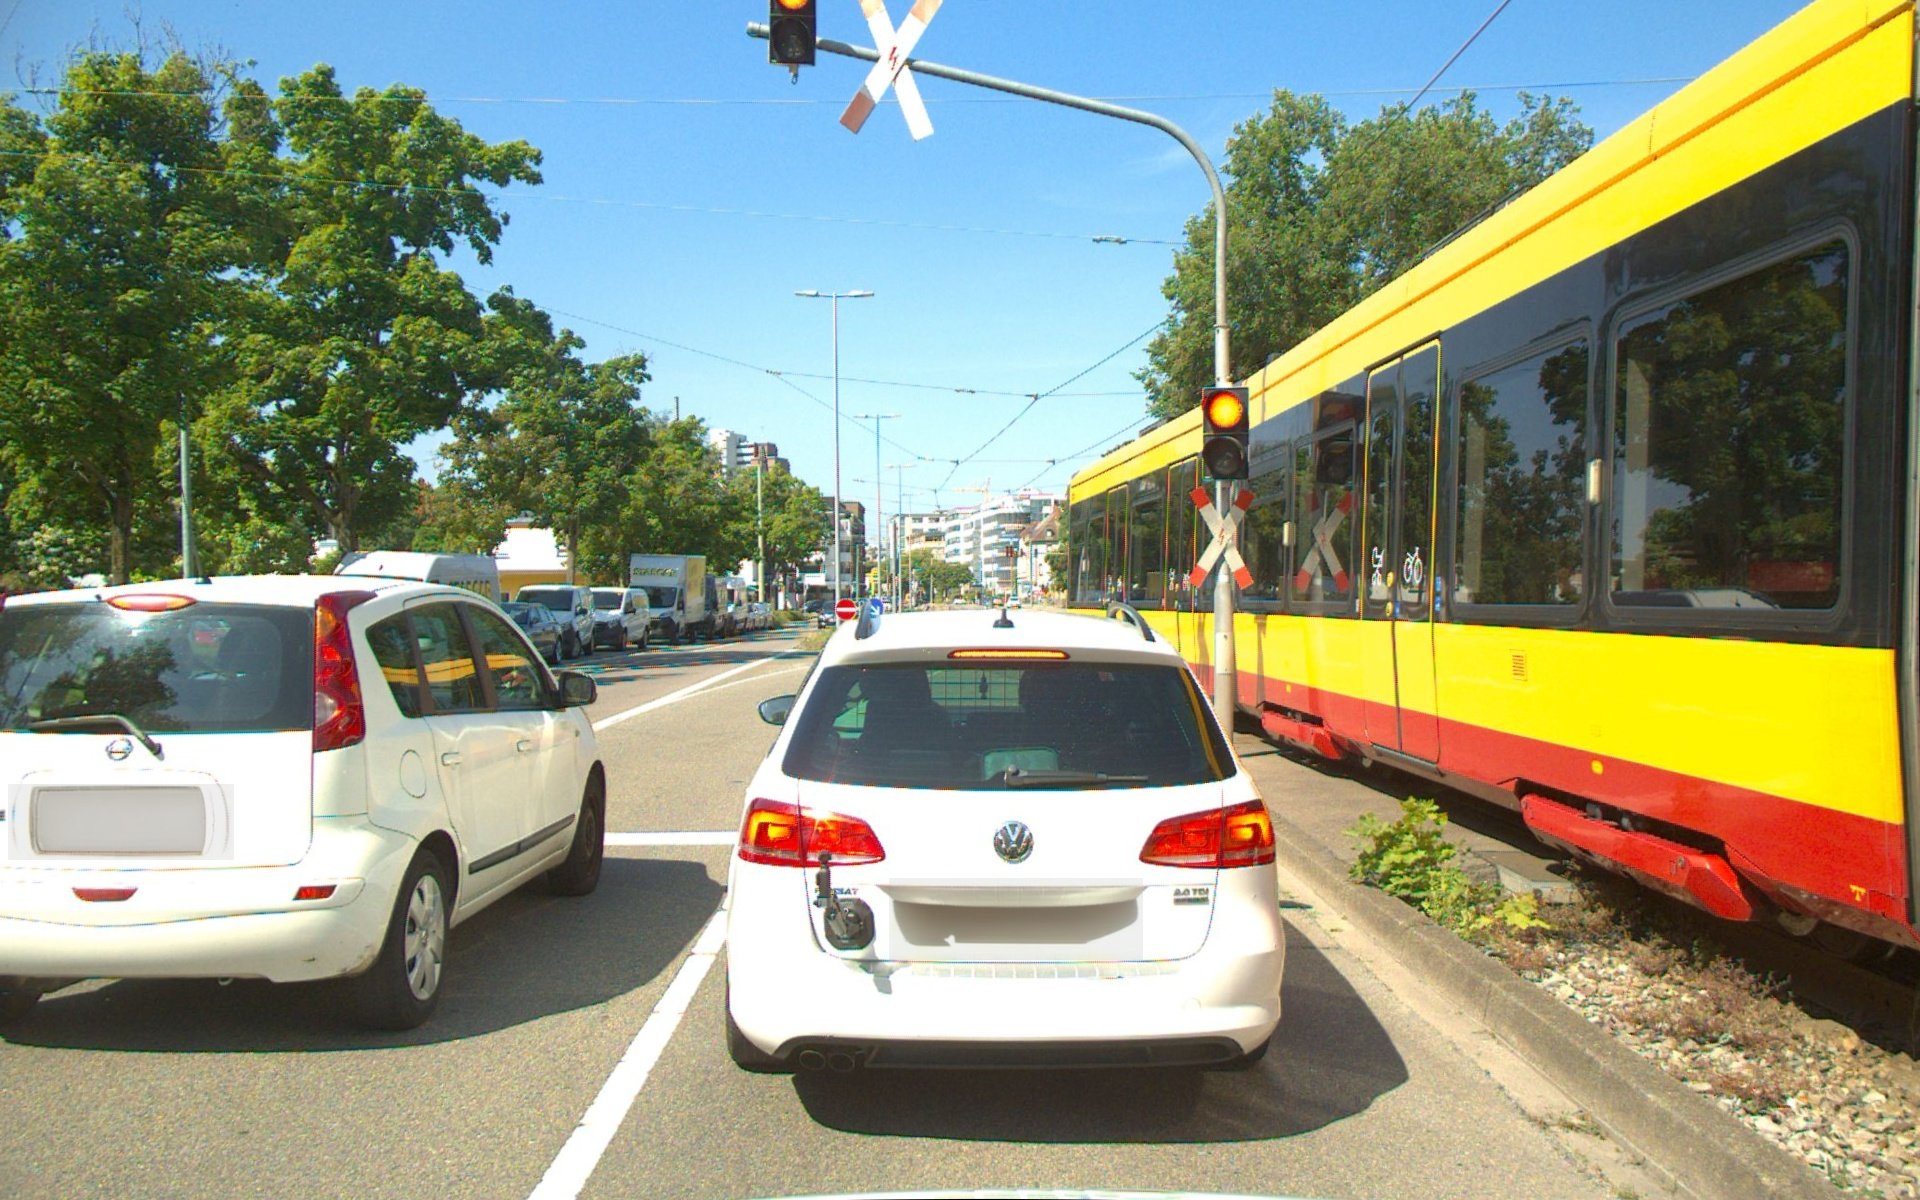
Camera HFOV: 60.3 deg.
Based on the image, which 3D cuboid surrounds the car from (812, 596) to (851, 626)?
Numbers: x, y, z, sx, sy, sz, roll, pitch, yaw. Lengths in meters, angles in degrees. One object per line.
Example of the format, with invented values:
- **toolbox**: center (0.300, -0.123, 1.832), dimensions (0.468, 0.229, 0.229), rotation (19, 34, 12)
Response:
- **car**: center (-6.874, 0.564, 88.767), dimensions (1.670, 1.499, 4.589), rotation (-1, 0, 0)

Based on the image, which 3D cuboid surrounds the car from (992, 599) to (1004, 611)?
- **car**: center (6.030, 0.779, 261.824), dimensions (1.640, 1.896, 3.730), rotation (1, 0, -1)

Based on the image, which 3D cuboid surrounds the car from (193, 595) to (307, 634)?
- **car**: center (-34.854, 0.695, 81.311), dimensions (4.698, 1.819, 2.062), rotation (1, 0, -5)

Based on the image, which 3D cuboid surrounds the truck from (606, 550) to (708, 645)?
- **truck**: center (-10.904, -0.107, 60.148), dimensions (2.371, 3.205, 6.996), rotation (1, 0, 0)

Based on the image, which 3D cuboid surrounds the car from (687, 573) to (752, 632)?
- **car**: center (-10.947, 0.105, 75.583), dimensions (2.079, 2.560, 5.733), rotation (1, 0, 0)

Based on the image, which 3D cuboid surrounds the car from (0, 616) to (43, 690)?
- **car**: center (-20.710, 1.128, 32.891), dimensions (3.909, 1.440, 1.728), rotation (-2, 0, -5)

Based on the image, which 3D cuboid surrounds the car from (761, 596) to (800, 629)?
- **car**: center (-10.657, 0.720, 98.425), dimensions (1.826, 1.900, 5.412), rotation (1, 0, -1)

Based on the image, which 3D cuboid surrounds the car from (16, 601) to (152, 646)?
- **car**: center (-37.774, 1.000, 71.389), dimensions (4.698, 1.819, 2.062), rotation (1, 0, -5)

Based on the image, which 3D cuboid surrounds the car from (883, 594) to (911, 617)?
- **car**: center (-4.289, 0.331, 112.724), dimensions (1.670, 1.499, 4.589), rotation (-1, 0, 0)

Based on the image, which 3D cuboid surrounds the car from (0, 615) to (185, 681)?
- **car**: center (-21.747, 1.177, 41.296), dimensions (3.909, 1.440, 1.728), rotation (-2, 0, -5)

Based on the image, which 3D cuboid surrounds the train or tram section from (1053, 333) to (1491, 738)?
- **train or tram section**: center (3.377, -0.668, 21.462), dimensions (2.814, 3.923, 10.527), rotation (-1, 0, -5)

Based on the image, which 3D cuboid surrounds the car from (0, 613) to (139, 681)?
- **car**: center (-21.595, 1.123, 38.639), dimensions (3.909, 1.440, 1.728), rotation (-2, 0, -5)

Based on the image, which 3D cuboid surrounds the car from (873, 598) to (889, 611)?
- **car**: center (-9.951, 0.531, 207.843), dimensions (1.670, 1.499, 4.589), rotation (-1, 0, 0)

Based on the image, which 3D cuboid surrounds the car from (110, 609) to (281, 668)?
- **car**: center (-21.262, 1.065, 46.116), dimensions (3.909, 1.440, 1.728), rotation (-2, 0, -5)

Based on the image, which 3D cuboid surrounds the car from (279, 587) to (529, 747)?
- **car**: center (-6.216, 0.685, 18.895), dimensions (1.642, 1.580, 3.579), rotation (-3, 0, -1)

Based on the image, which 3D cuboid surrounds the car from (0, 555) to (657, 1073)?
- **car**: center (-2.580, 0.641, 7.306), dimensions (1.628, 1.575, 4.546), rotation (0, 0, 0)

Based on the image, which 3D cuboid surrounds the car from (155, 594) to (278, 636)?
- **car**: center (-34.334, 0.683, 76.493), dimensions (4.698, 1.819, 2.062), rotation (1, 0, -5)

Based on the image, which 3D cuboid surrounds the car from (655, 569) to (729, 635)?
- **car**: center (-10.973, 0.070, 68.146), dimensions (2.079, 2.560, 5.733), rotation (1, 0, 0)

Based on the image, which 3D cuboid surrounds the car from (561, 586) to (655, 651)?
- **car**: center (-10.937, 0.533, 51.724), dimensions (1.826, 1.900, 5.412), rotation (1, 0, -1)

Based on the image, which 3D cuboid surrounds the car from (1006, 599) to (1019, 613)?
- **car**: center (6.951, 0.779, 219.812), dimensions (1.575, 1.896, 3.730), rotation (1, 0, -1)

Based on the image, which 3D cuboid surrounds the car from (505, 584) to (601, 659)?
- **car**: center (-11.039, 0.533, 45.129), dimensions (1.827, 1.900, 5.068), rotation (1, 0, -6)

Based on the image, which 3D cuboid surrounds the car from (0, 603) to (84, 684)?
- **car**: center (-21.056, 0.969, 35.122), dimensions (3.909, 1.638, 1.728), rotation (-2, 0, -5)

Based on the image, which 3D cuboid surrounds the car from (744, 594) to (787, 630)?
- **car**: center (-10.711, 0.614, 91.508), dimensions (1.826, 1.900, 5.412), rotation (1, 0, -1)

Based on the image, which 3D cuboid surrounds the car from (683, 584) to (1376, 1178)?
- **car**: center (0.152, 0.698, 6.187), dimensions (1.726, 1.455, 3.999), rotation (-1, 0, -1)

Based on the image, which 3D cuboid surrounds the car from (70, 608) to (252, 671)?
- **car**: center (-21.082, 1.032, 43.746), dimensions (3.909, 1.440, 1.728), rotation (-2, 0, -5)

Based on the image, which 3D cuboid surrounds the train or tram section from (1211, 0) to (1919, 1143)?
- **train or tram section**: center (3.978, -0.496, 9.947), dimensions (2.812, 3.923, 12.389), rotation (-1, 0, -1)

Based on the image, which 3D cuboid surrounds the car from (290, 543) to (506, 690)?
- **car**: center (-10.727, 0.278, 32.128), dimensions (2.079, 2.560, 5.817), rotation (1, 0, 1)

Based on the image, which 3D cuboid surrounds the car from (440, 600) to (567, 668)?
- **car**: center (-10.577, 0.761, 38.603), dimensions (1.826, 1.440, 4.278), rotation (1, 0, -1)

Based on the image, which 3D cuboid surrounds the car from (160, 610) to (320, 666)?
- **car**: center (-21.249, 1.110, 48.934), dimensions (3.909, 1.440, 1.728), rotation (-2, 0, -5)
